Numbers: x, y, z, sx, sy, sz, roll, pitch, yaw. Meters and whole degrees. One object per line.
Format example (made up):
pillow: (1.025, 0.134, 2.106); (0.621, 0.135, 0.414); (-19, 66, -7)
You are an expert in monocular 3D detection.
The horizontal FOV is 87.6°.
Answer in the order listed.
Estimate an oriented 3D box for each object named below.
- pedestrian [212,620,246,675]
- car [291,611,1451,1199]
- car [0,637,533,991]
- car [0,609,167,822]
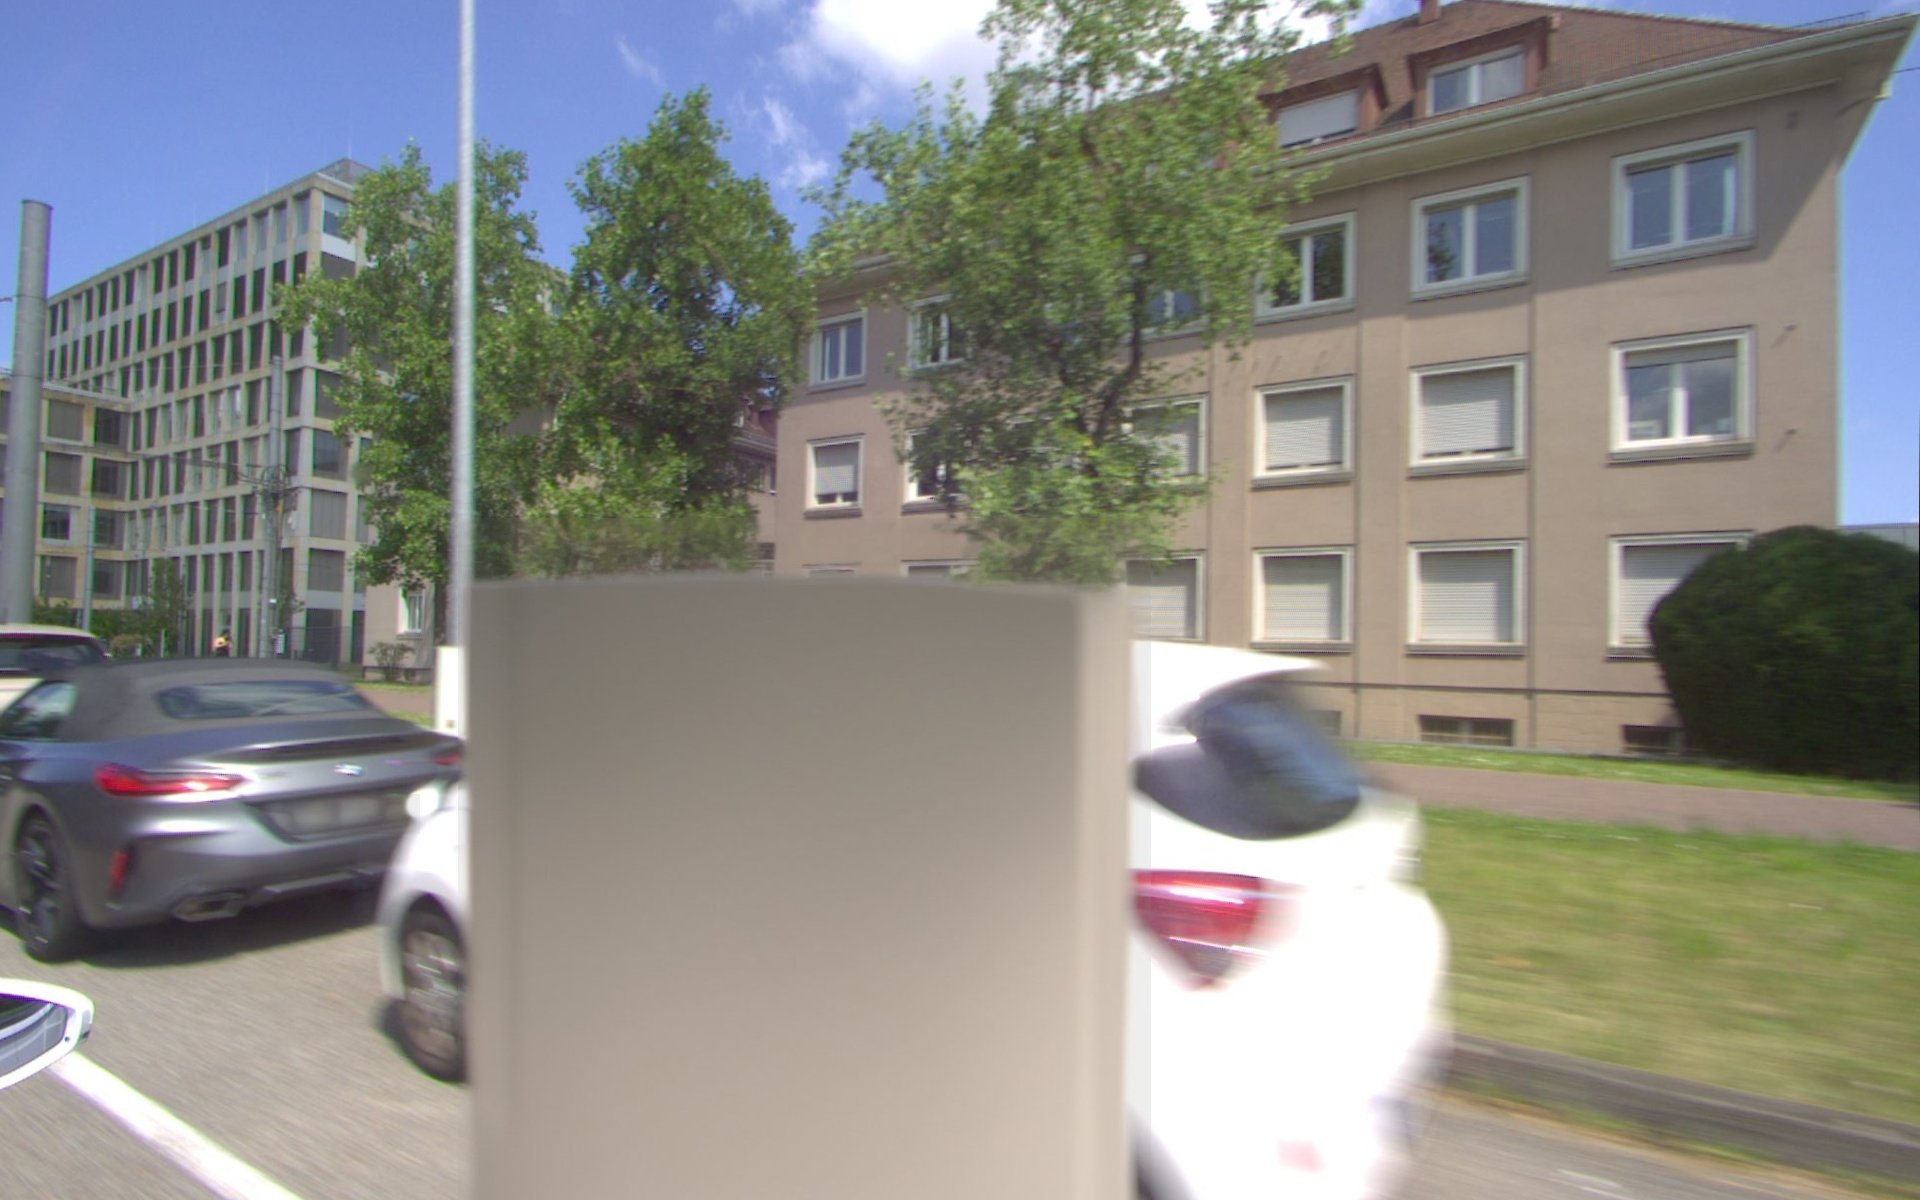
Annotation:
pedestrian: (-22.008, 1.411, 30.148); (0.615, 1.629, 0.622); (0, -1, 30)
car: (-0.491, 0.808, 3.437); (3.737, 1.498, 1.704); (0, -2, 34)
car: (-4.668, 0.910, 5.868); (4.379, 1.328, 1.821); (0, -2, 32)
car: (-8.412, 0.851, 8.423); (3.797, 1.534, 1.665); (0, -1, 34)
